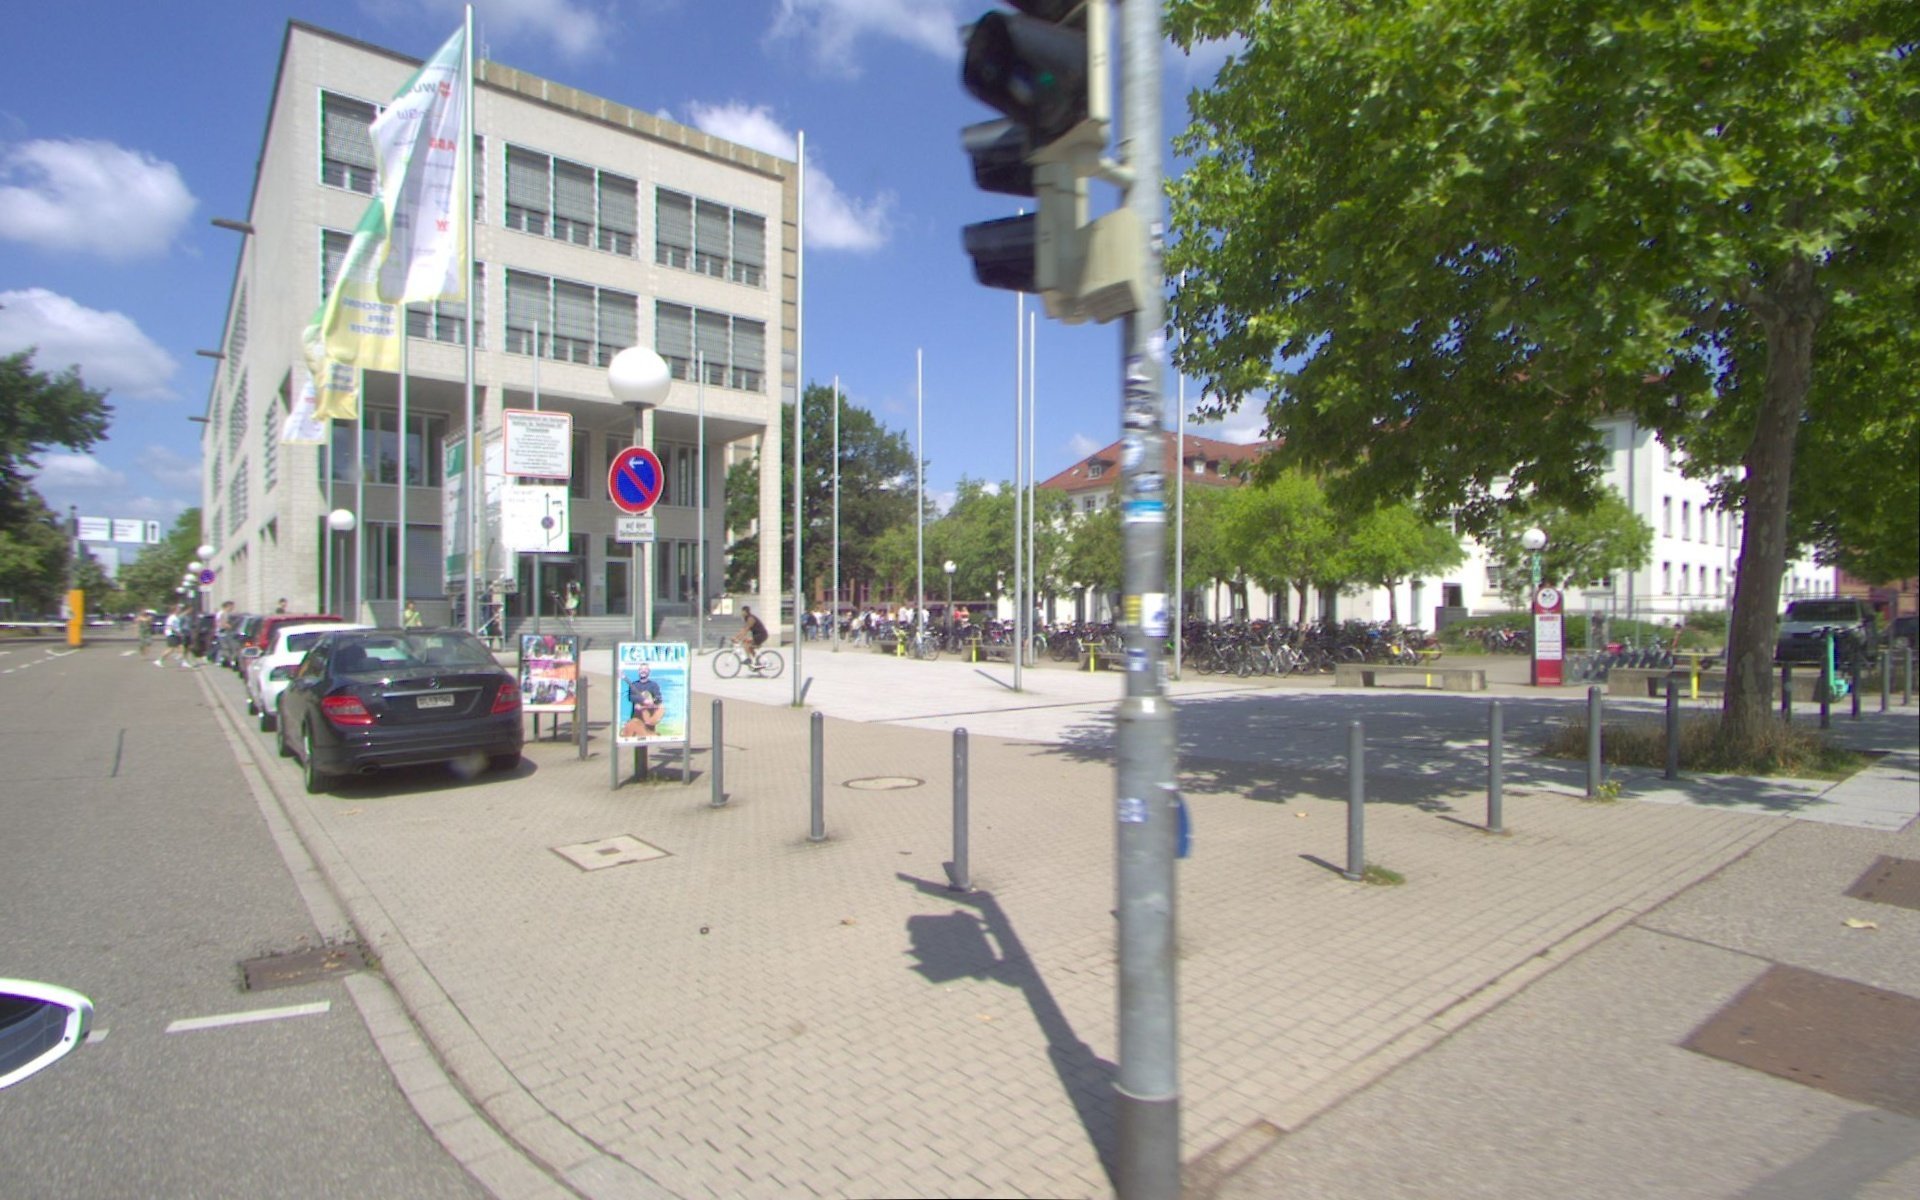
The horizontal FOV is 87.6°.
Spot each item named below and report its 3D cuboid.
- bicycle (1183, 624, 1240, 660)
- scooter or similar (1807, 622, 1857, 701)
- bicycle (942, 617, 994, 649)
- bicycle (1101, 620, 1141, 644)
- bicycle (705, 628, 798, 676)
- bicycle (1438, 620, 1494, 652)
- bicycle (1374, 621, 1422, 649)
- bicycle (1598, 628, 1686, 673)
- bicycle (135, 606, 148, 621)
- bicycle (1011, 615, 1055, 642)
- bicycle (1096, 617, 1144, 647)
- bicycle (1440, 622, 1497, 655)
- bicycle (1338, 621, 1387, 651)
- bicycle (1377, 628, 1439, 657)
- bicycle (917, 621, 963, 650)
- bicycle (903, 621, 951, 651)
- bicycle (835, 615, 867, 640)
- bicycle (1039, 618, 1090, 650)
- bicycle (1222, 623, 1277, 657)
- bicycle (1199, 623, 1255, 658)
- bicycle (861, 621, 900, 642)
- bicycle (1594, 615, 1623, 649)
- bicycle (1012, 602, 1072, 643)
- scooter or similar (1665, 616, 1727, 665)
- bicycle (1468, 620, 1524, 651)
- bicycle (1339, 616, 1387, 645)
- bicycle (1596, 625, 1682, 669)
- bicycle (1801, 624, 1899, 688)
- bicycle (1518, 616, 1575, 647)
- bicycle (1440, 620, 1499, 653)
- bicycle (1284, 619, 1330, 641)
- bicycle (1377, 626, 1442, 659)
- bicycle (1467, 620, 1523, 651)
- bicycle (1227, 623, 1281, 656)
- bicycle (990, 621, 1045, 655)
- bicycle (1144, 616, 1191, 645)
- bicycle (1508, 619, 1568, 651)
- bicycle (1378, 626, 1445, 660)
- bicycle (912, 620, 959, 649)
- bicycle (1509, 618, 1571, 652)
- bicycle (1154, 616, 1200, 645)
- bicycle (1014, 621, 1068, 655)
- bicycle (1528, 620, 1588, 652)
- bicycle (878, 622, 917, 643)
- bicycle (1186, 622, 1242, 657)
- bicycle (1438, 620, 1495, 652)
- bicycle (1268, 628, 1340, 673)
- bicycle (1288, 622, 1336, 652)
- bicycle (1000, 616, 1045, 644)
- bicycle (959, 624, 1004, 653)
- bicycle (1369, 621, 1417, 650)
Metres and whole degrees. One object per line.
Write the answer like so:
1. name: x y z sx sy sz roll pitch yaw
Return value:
1. bicycle: 8.164 1.367 32.533 1.737 1.113 0.603 -2 -1 21
2. scooter or similar: 13.579 0.947 15.585 1.179 1.180 0.351 0 -2 -39
3. bicycle: 0.288 1.184 35.668 1.737 1.113 0.603 -2 -1 21
4. bicycle: 7.599 1.516 47.301 1.737 1.113 0.603 -2 -1 21
5. bicycle: -5.032 1.251 24.265 2.113 1.093 0.903 1 0 -6
6. bicycle: 18.554 1.324 36.745 1.737 1.113 0.602 -2 -1 21
7. bicycle: 17.870 1.426 40.859 1.737 1.113 0.603 -2 -1 21
8. bicycle: 17.395 1.293 25.578 1.737 1.113 0.602 -2 -1 21
9. bicycle: -80.144 1.345 98.041 0.979 1.332 2.941 0 -2 -39
10. bicycle: 3.105 1.227 42.549 1.737 1.113 0.603 -2 -1 21
11. bicycle: 6.267 1.263 39.260 1.737 1.113 0.603 -2 -1 21
12. bicycle: 17.980 1.358 35.438 1.737 1.113 0.602 -2 -1 21
13. bicycle: 15.586 1.408 38.825 1.737 1.113 0.603 -2 -1 21
14. bicycle: 13.834 1.305 30.965 1.737 0.880 0.483 0 -1 21
15. bicycle: -0.806 1.425 39.829 1.737 1.113 0.603 -2 -1 21
16. bicycle: -1.254 1.386 38.445 1.737 1.113 0.603 -2 -1 21
17. bicycle: -5.300 1.344 48.849 0.672 1.153 1.684 1 1 30
18. bicycle: 3.777 1.227 36.322 1.737 1.113 0.603 -2 -1 21
19. bicycle: 9.872 1.359 34.116 1.737 1.113 0.603 -2 -1 21
20. bicycle: 8.979 1.363 33.699 1.737 1.113 0.603 -2 -1 21
21. bicycle: -3.211 1.275 40.446 0.514 0.803 1.755 0 0 38
22. bicycle: 23.135 1.124 35.703 0.601 1.153 1.574 2 1 42
23. bicycle: 2.699 0.735 32.869 1.839 1.313 0.662 -1 -1 -11
24. scooter or similar: 19.254 1.061 26.201 1.282 1.249 0.279 -1 1 38
25. bicycle: 19.772 1.306 36.946 1.737 1.113 0.515 -2 -1 21
26. bicycle: 15.944 1.213 39.650 1.737 1.113 0.603 -2 -1 21
27. bicycle: 17.729 1.241 26.196 1.737 1.113 0.602 -2 -1 21
28. bicycle: 17.611 1.089 19.800 2.001 1.198 0.796 0 -1 -28
29. bicycle: 21.874 1.189 37.370 1.737 1.113 0.603 -2 -1 21
30. bicycle: 17.626 1.270 34.661 1.737 1.113 0.602 -2 -1 21
31. bicycle: 14.001 1.213 40.436 1.737 0.880 0.603 -2 -1 21
32. bicycle: 13.549 1.279 30.211 1.737 0.967 0.602 0 -1 21
33. bicycle: 20.027 1.320 37.509 1.737 1.113 0.591 -2 -1 21
34. bicycle: 10.183 1.373 34.696 1.737 1.113 0.603 -2 -1 21
35. bicycle: 1.940 1.278 33.770 1.737 1.113 0.603 -2 -1 21
36. bicycle: 8.160 1.210 39.369 1.737 1.113 0.603 -2 -1 21
37. bicycle: 20.395 1.239 35.373 1.737 1.113 0.602 -2 -1 21
38. bicycle: 13.266 1.258 29.457 1.737 0.967 0.602 0 -1 21
39. bicycle: -0.947 1.353 39.099 1.737 1.113 0.603 -2 -1 21
40. bicycle: 19.914 1.216 34.436 1.737 1.113 0.602 -2 -1 21
41. bicycle: 8.685 1.224 40.093 1.737 1.113 0.603 -2 -1 21
42. bicycle: 2.771 1.309 34.460 1.737 1.113 0.603 -2 -1 21
43. bicycle: 21.541 1.309 36.108 1.737 1.113 0.603 -2 -1 21
44. bicycle: -2.449 1.268 39.619 0.514 0.803 1.755 0 0 38
45. bicycle: 8.416 1.298 33.149 1.737 1.113 0.603 -2 -1 21
46. bicycle: 18.255 1.293 36.104 1.737 1.113 0.602 -2 -1 21
47. bicycle: 8.945 1.313 26.047 1.737 1.113 0.602 -2 -1 21
48. bicycle: 13.865 1.465 39.473 1.737 1.113 0.603 -2 -1 21
49. bicycle: 2.568 1.246 41.410 1.737 1.113 0.603 -2 -1 21
50. bicycle: 0.886 1.571 40.903 1.737 1.113 0.603 -2 -1 21
51. bicycle: 17.414 1.422 40.307 1.737 1.113 0.603 -2 -1 21
